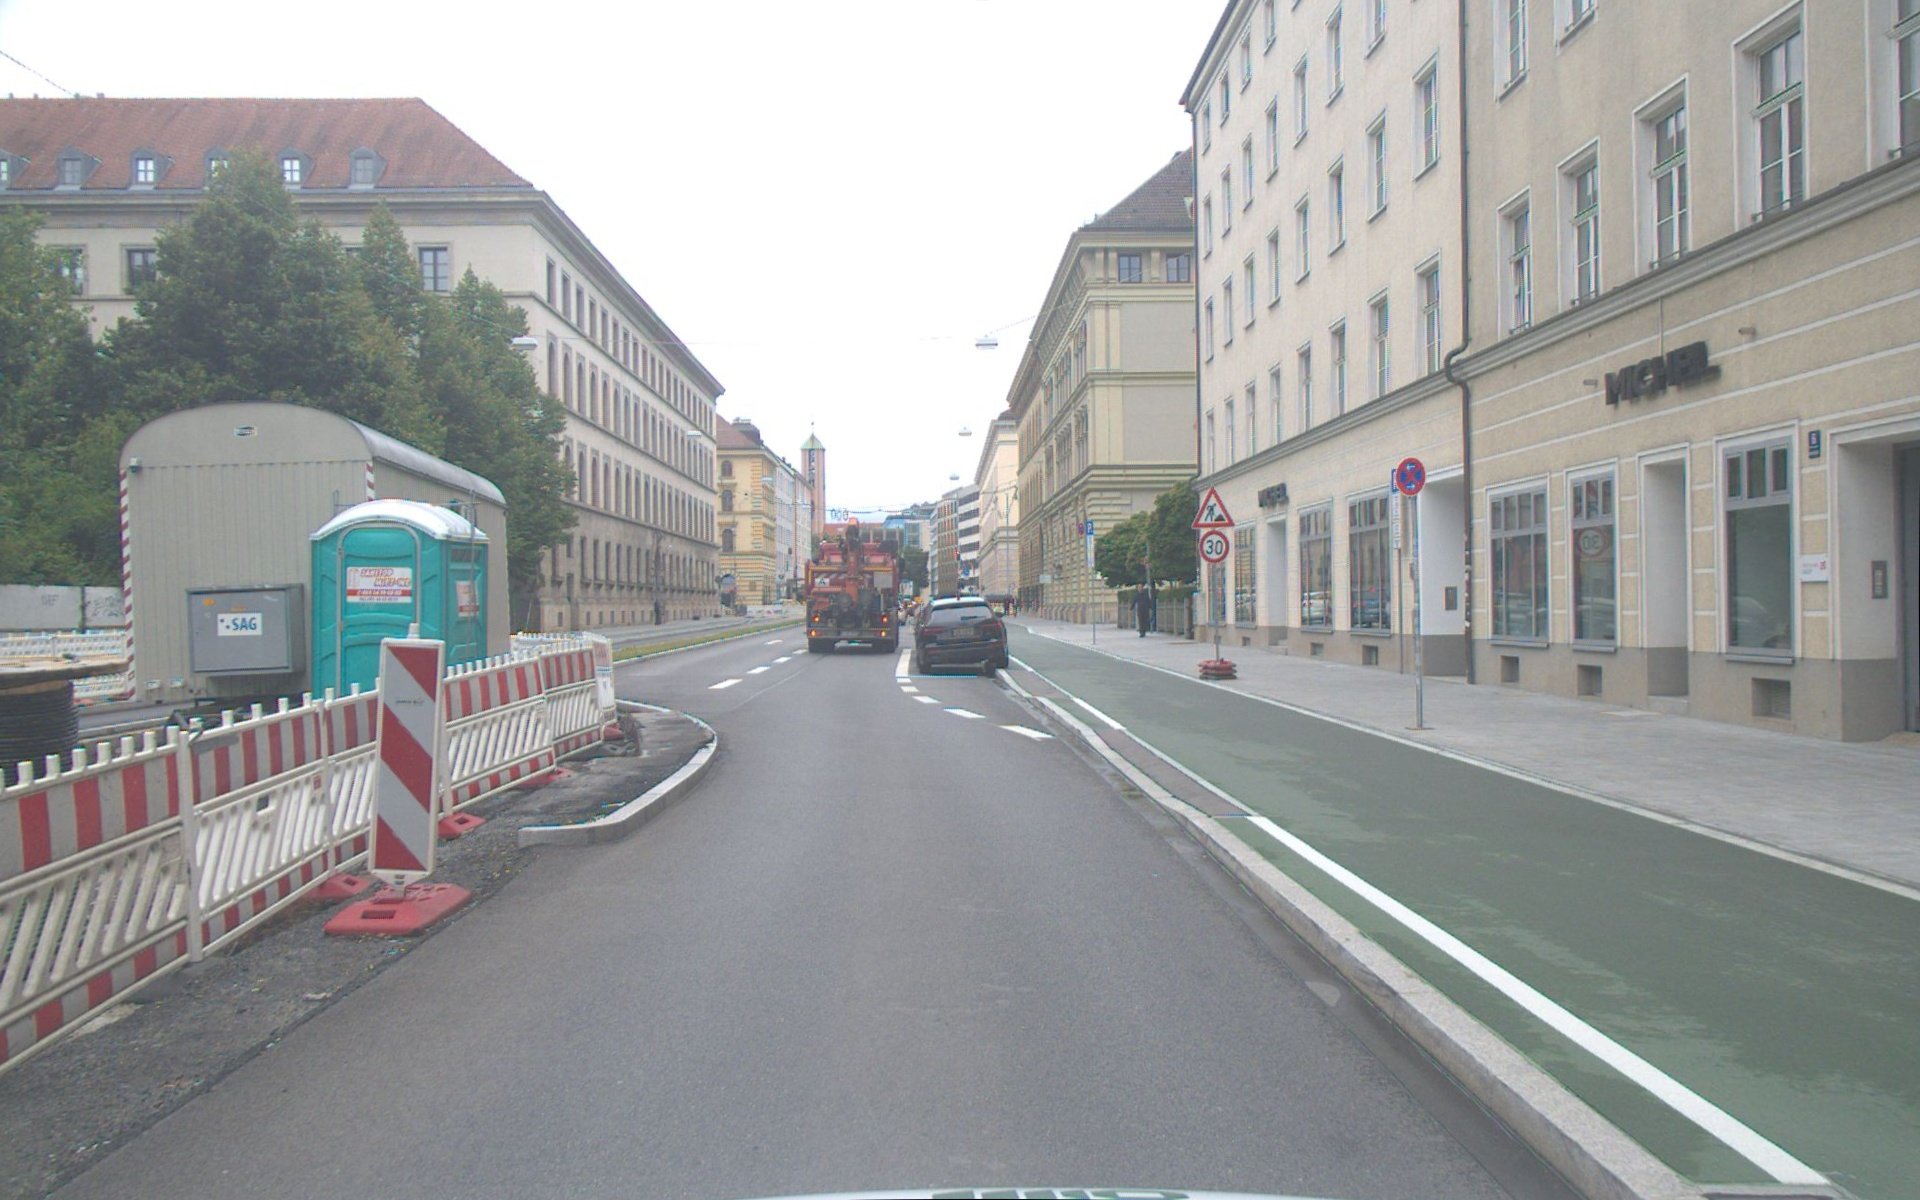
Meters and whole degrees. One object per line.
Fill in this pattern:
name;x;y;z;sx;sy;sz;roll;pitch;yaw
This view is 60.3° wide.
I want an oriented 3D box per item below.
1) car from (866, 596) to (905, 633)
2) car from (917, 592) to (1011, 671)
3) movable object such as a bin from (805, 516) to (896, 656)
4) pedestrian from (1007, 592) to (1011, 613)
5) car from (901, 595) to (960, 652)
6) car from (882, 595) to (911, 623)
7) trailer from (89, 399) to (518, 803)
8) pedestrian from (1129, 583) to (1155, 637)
car;-3.170;0.624;71.007;1.577;1.521;3.423;-1;0;-2
car;0.019;0.614;34.889;1.765;1.506;4.685;-1;0;-2
movable object such as a bin;-3.025;-0.379;46.689;2.375;3.675;5.848;0;0;-2
pedestrian;3.852;0.201;129.760;0.330;1.701;0.440;-1;0;0
car;-0.853;0.627;46.833;1.577;1.521;3.423;-1;0;-2
car;-3.587;0.490;93.354;1.577;1.521;3.423;-1;0;-2
trailer;-6.402;-0.013;17.385;2.184;3.300;7.509;-1;0;-6
pedestrian;6.398;0.346;58.164;0.774;1.868;0.777;-1;0;0
